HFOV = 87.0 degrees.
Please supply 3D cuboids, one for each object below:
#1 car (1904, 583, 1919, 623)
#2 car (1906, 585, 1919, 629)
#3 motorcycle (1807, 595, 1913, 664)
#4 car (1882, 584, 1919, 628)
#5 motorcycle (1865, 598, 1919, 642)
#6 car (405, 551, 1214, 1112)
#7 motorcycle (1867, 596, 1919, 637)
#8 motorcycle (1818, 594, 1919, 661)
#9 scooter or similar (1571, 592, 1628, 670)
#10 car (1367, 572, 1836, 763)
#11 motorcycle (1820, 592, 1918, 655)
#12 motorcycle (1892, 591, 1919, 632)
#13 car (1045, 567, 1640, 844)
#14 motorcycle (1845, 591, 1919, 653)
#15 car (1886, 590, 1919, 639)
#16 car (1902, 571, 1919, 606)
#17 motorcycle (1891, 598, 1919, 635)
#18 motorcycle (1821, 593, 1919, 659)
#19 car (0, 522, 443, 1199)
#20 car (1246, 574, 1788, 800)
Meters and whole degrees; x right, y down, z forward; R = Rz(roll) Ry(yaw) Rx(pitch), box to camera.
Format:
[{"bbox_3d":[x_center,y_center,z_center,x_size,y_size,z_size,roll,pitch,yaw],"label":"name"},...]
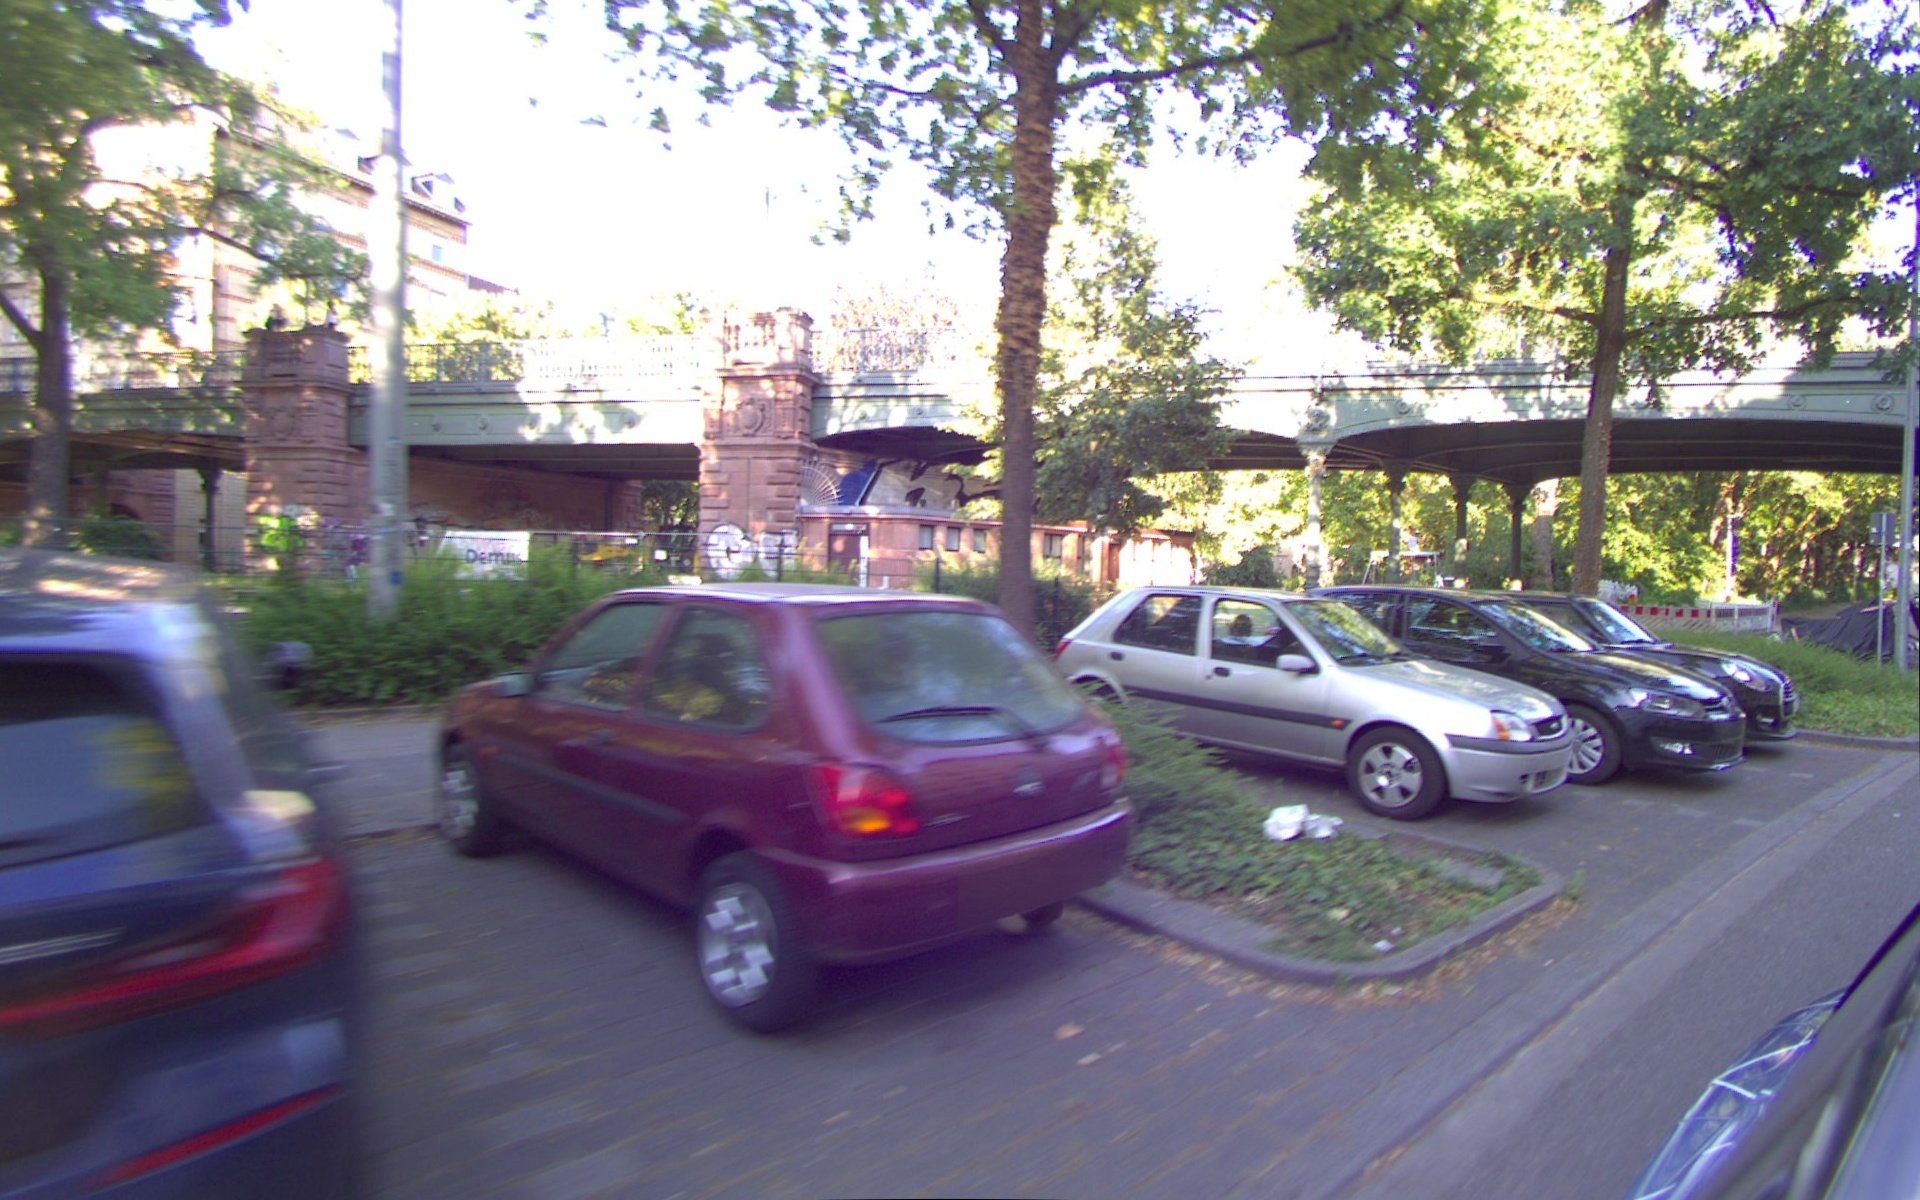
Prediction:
[{"bbox_3d":[43.897,0.157,43.670,1.876,1.717,4.537,-2,2,-43],"label":"car"},{"bbox_3d":[40.456,0.282,40.034,4.376,1.729,1.877,1,2,45],"label":"car"},{"bbox_3d":[19.851,0.628,22.356,0.697,1.425,1.609,-1,1,-21],"label":"motorcycle"},{"bbox_3d":[38.292,0.295,38.429,1.703,1.625,4.600,-2,3,-37],"label":"car"},{"bbox_3d":[25.988,0.543,27.559,1.818,1.146,0.843,0,1,26],"label":"motorcycle"},{"bbox_3d":[-0.980,0.519,4.595,1.738,1.418,3.785,-2,4,-45],"label":"car"},{"bbox_3d":[27.525,0.473,29.314,1.701,1.146,0.709,0,1,15],"label":"motorcycle"},{"bbox_3d":[20.628,0.601,22.979,0.697,1.425,1.609,-1,1,-21],"label":"motorcycle"},{"bbox_3d":[11.398,0.535,18.029,1.302,1.314,0.478,-2,2,-39],"label":"scooter or similar"},{"bbox_3d":[6.410,0.513,10.402,1.609,1.490,3.785,-2,4,-45],"label":"car"},{"bbox_3d":[21.926,0.543,24.437,0.697,1.425,1.609,-1,1,-21],"label":"motorcycle"},{"bbox_3d":[30.244,0.349,31.259,1.915,1.253,0.897,0,1,24],"label":"motorcycle"},{"bbox_3d":[2.569,0.517,7.499,1.636,1.418,3.789,-2,4,-41],"label":"car"},{"bbox_3d":[22.824,0.523,24.766,0.697,1.425,1.609,-1,1,-21],"label":"motorcycle"},{"bbox_3d":[33.502,0.513,33.311,1.646,1.597,4.379,-2,2,-43],"label":"car"},{"bbox_3d":[55.530,-0.527,56.074,1.841,1.947,4.679,-2,5,-43],"label":"car"},{"bbox_3d":[29.024,0.484,30.129,1.701,1.043,0.809,0,1,15],"label":"motorcycle"},{"bbox_3d":[21.226,0.576,23.592,0.697,1.425,1.609,-1,1,-21],"label":"motorcycle"},{"bbox_3d":[-2.539,0.548,2.573,1.633,1.464,3.795,-1,4,-36],"label":"car"},{"bbox_3d":[4.685,0.548,8.952,1.795,1.418,3.791,-2,4,-40],"label":"car"}]
